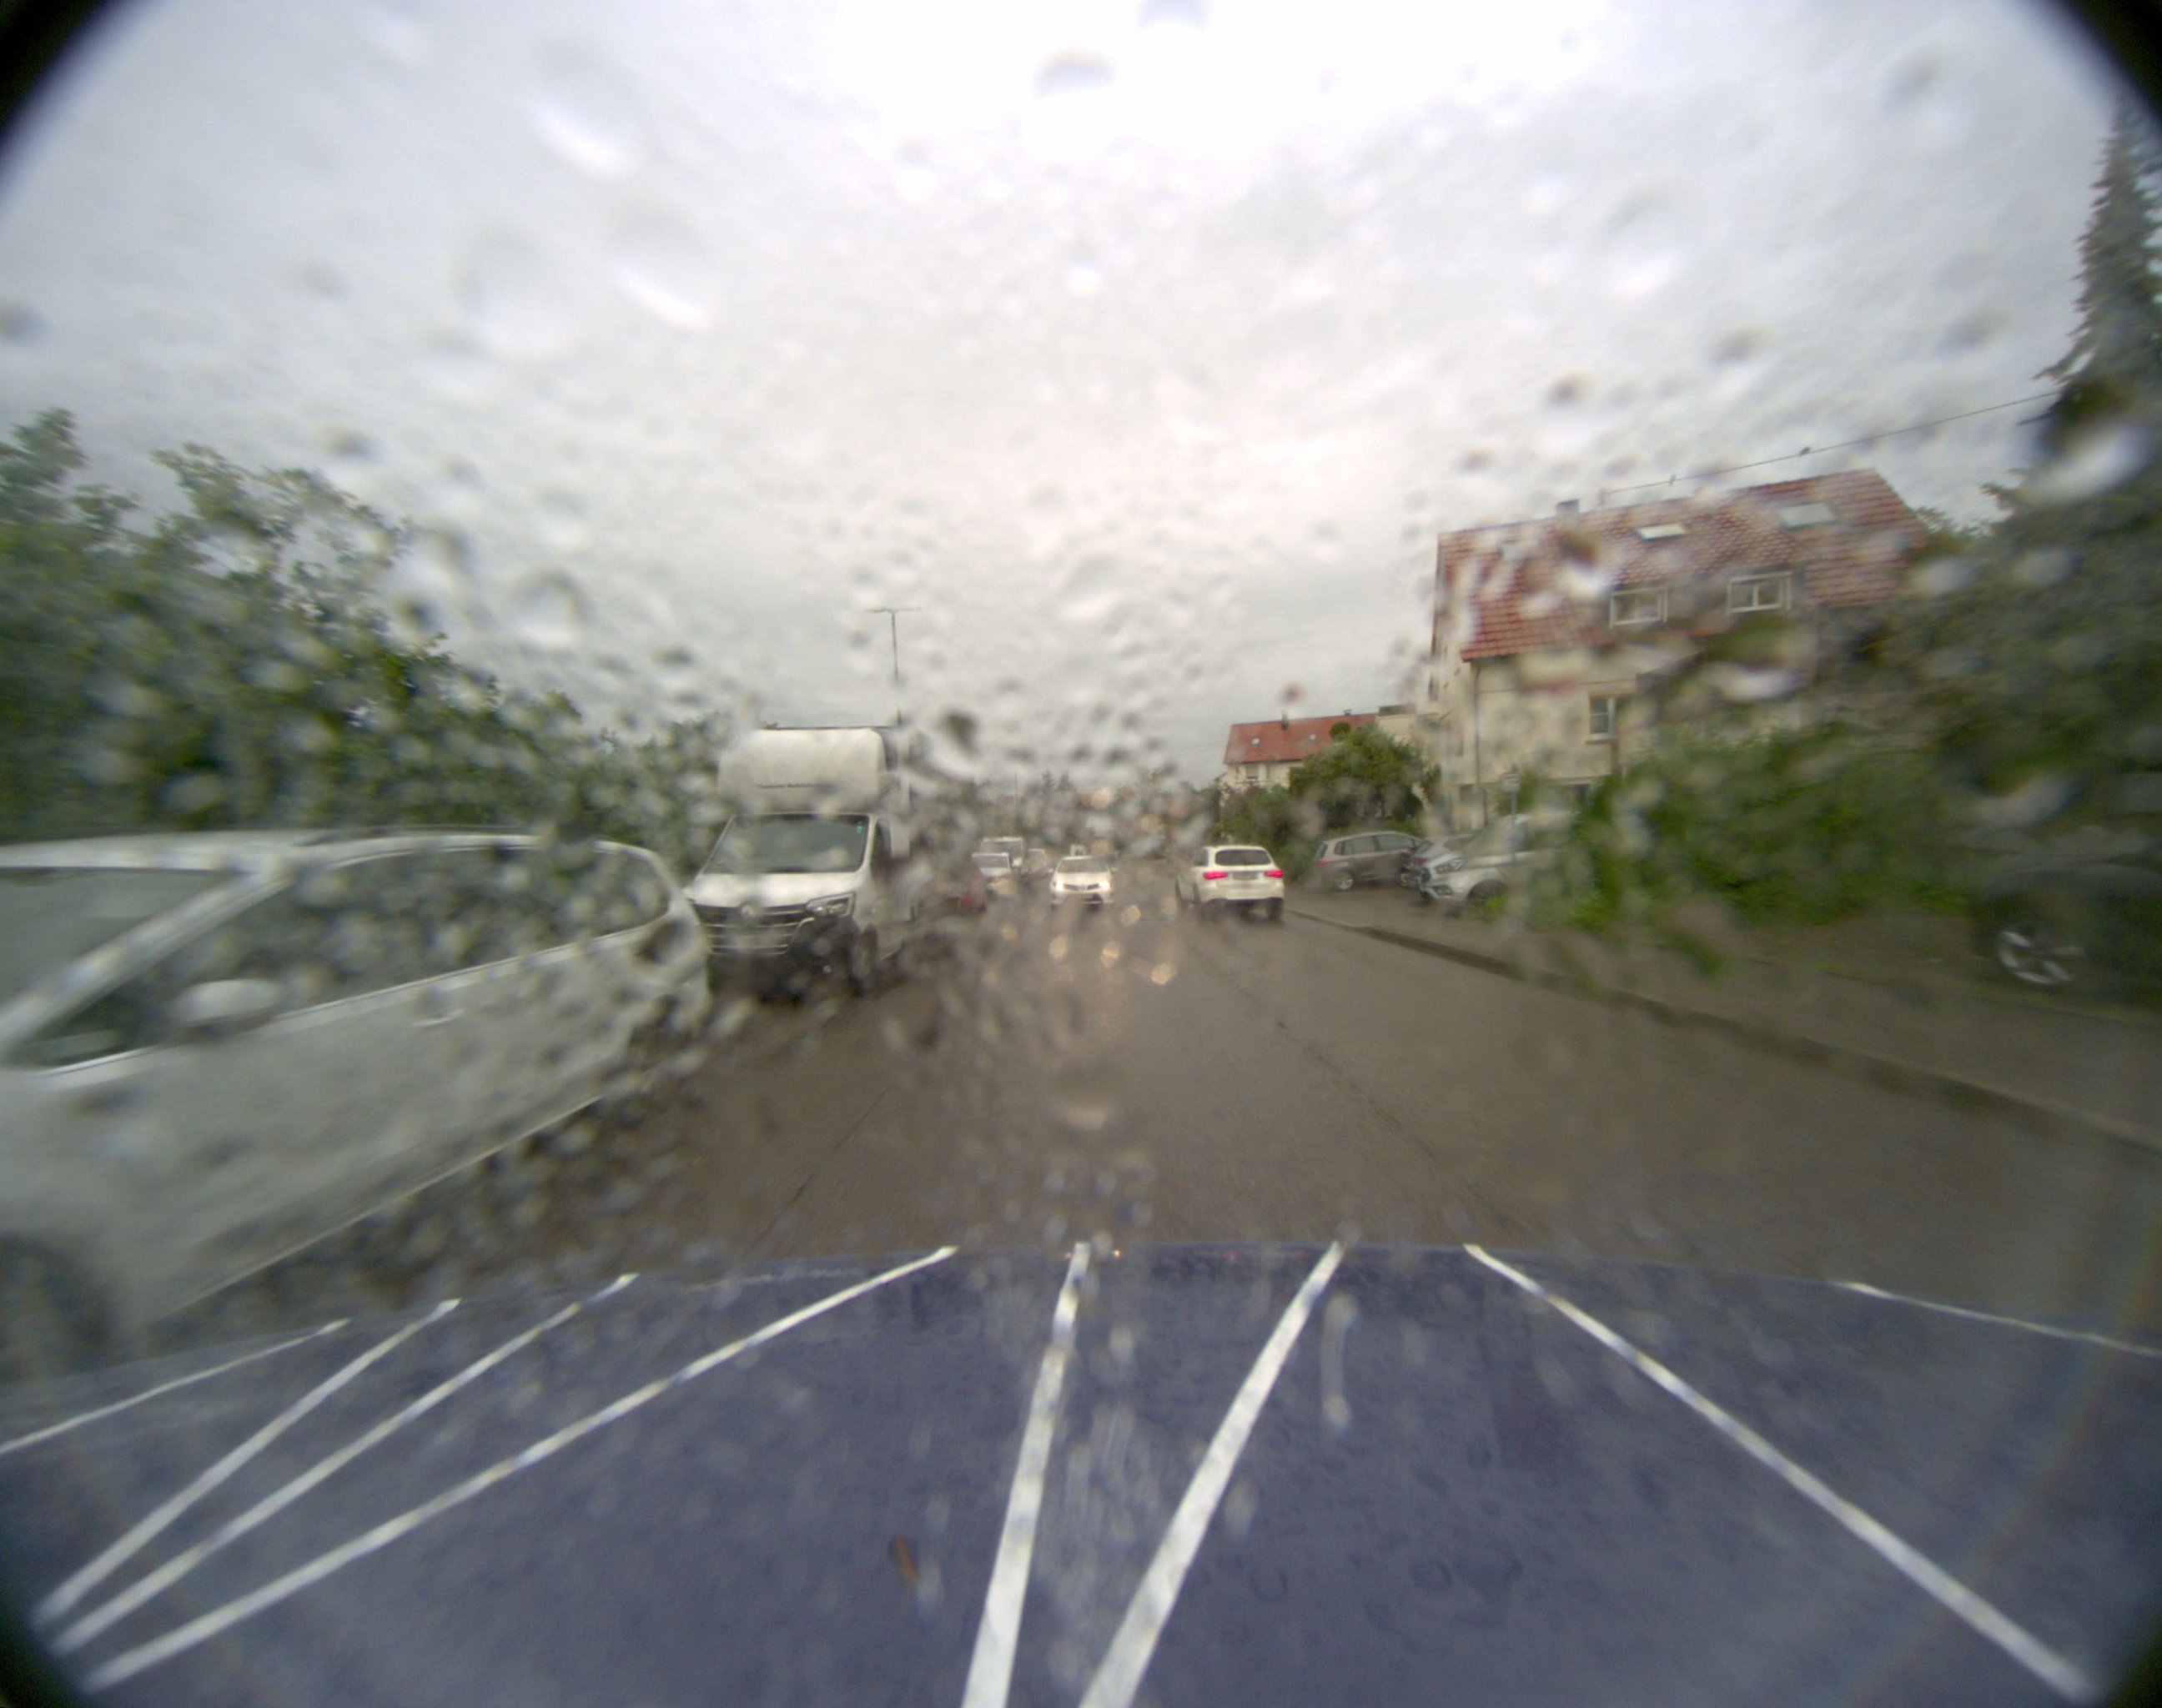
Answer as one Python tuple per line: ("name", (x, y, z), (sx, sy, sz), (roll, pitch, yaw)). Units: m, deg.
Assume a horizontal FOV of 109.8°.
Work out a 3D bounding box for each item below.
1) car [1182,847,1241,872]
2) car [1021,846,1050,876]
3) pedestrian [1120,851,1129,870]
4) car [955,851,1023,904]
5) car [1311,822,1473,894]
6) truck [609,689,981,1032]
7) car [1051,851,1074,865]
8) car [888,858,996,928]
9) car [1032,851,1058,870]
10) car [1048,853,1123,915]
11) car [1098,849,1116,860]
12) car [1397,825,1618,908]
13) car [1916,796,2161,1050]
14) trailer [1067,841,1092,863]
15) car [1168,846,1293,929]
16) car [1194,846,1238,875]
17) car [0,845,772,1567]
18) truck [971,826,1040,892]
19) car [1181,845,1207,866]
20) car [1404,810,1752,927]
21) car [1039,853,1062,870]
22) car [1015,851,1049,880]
("car", (9.253, 0.366, 53.659), (3.831, 1.470, 1.805), (5, 3, 15))
("car", (-3.066, 0.439, 52.135), (1.854, 1.871, 4.909), (-1, 1, -2))
("pedestrian", (3.712, 0.560, 64.434), (0.718, 1.626, 0.707), (-1, 1, 2))
("car", (-3.083, 0.743, 26.375), (1.764, 1.595, 4.665), (-1, 1, 0))
("car", (9.011, 0.111, 22.396), (4.061, 1.682, 1.895), (-5, 1, 14))
("truck", (-3.310, 0.016, 11.422), (2.442, 3.316, 7.963), (-1, 1, 0))
("car", (-1.920, 0.393, 79.725), (1.796, 1.451, 4.790), (-1, 1, 6))
("car", (-3.385, 0.890, 19.450), (1.836, 1.429, 4.985), (-1, 1, 0))
("car", (-2.962, 0.527, 63.506), (1.820, 1.498, 4.724), (-1, 1, 2))
("car", (0.236, 0.769, 21.703), (1.862, 1.370, 4.180), (-3, 2, 3))
("car", (3.661, 0.006, 106.011), (1.635, 1.448, 3.705), (-1, 1, 17))
("car", (9.579, 0.268, 17.446), (4.060, 1.629, 1.895), (-3, 1, 17))
("car", (8.064, 0.438, 4.454), (1.693, 1.579, 4.197), (-8, 0, 4))
("trailer", (-0.140, -0.266, 91.105), (1.952, 2.442, 5.438), (-1, 1, 10))
("car", (3.328, 0.678, 17.807), (1.911, 1.598, 4.427), (-3, 0, -1))
("car", (7.862, 0.358, 44.649), (1.807, 1.588, 4.417), (-1, 1, 0))
("car", (-3.450, 0.822, 3.283), (1.850, 1.674, 5.637), (-1, 1, 0))
("truck", (-3.225, 0.153, 34.002), (2.244, 2.616, 6.538), (-1, 1, 2))
("car", (8.720, 0.086, 58.774), (1.769, 1.368, 4.249), (-5, 1, 8))
("car", (8.953, 0.261, 14.296), (5.091, 1.933, 2.144), (-1, 1, 17))
("car", (-2.696, 0.668, 68.706), (1.739, 1.406, 3.852), (-1, 1, 3))
("car", (-2.899, 0.659, 46.017), (1.652, 1.554, 3.963), (-1, 1, 2))
